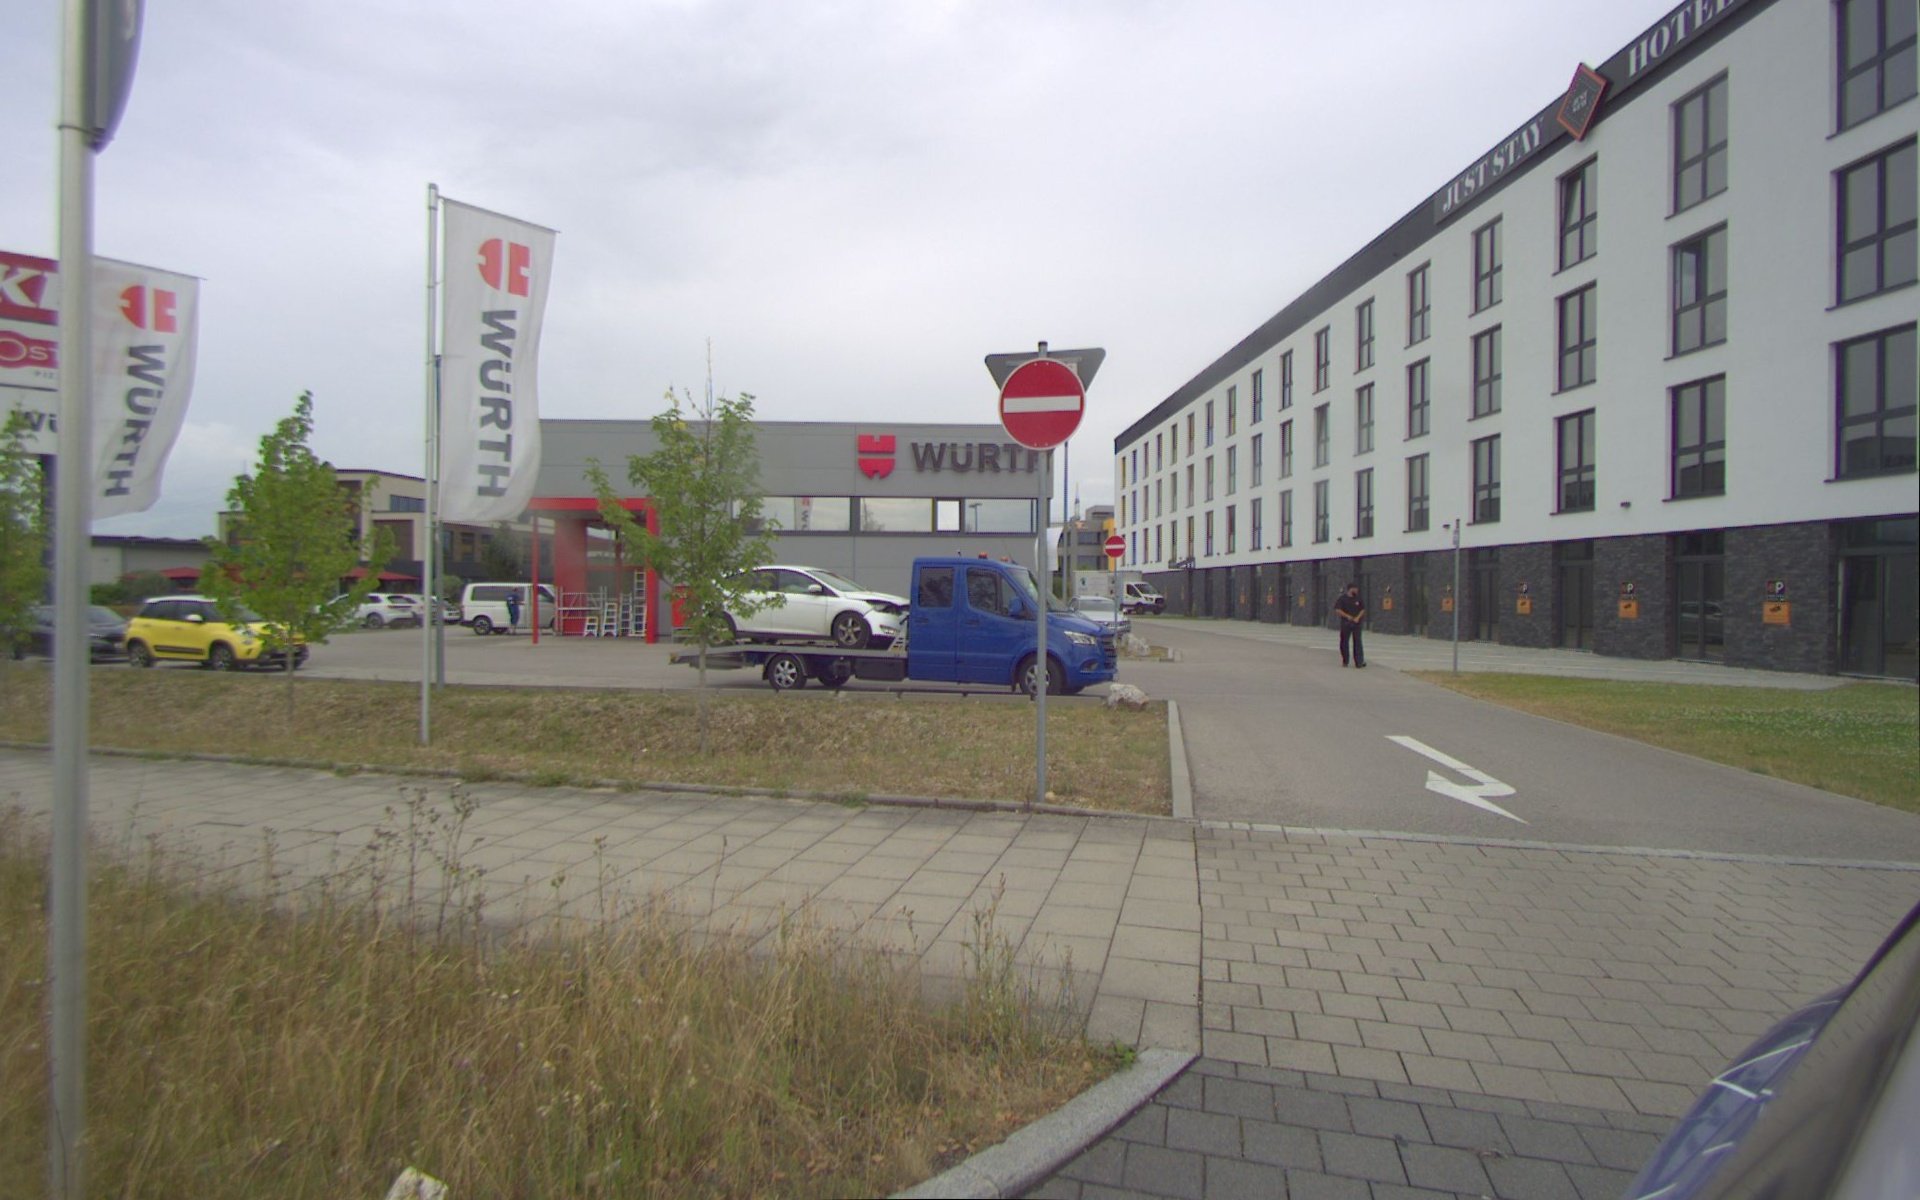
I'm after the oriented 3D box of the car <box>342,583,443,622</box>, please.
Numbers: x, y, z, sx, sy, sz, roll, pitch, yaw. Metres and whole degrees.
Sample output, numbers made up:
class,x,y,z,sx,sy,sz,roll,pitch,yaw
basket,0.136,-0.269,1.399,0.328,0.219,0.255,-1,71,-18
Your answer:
class,x,y,z,sx,sy,sz,roll,pitch,yaw
car,-28.027,0.108,50.074,3.924,1.883,2.000,0,1,1

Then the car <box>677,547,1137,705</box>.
class,x,y,z,sx,sy,sz,roll,pitch,yaw
car,-1.004,0.323,17.479,7.761,2.352,2.186,1,1,21

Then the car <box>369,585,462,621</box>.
class,x,y,z,sx,sy,sz,roll,pitch,yaw
car,-29.110,0.136,54.197,3.924,1.883,2.000,0,1,1

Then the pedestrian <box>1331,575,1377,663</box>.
class,x,y,z,sx,sy,sz,roll,pitch,yaw
pedestrian,8.389,0.386,21.573,0.697,1.845,0.812,0,0,4

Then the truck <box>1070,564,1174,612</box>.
class,x,y,z,sx,sy,sz,roll,pitch,yaw
truck,10.740,-0.845,67.680,2.394,3.054,7.059,-1,1,-40

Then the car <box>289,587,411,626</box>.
class,x,y,z,sx,sy,sz,roll,pitch,yaw
car,-28.396,0.274,47.220,4.653,1.770,1.758,0,0,1

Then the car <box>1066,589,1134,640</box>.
class,x,y,z,sx,sy,sz,roll,pitch,yaw
car,4.652,0.424,34.189,1.946,1.510,4.765,2,1,5

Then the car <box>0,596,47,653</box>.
class,x,y,z,sx,sy,sz,roll,pitch,yaw
car,-27.809,0.672,28.572,3.960,1.517,1.701,0,1,27

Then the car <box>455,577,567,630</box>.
class,x,y,z,sx,sy,sz,roll,pitch,yaw
car,-17.301,0.111,39.124,3.605,2.004,1.677,0,1,0

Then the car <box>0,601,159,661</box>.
class,x,y,z,sx,sy,sz,roll,pitch,yaw
car,-22.406,0.736,25.672,3.958,1.378,1.729,0,1,26

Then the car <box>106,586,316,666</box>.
class,x,y,z,sx,sy,sz,roll,pitch,yaw
car,-17.051,0.541,23.066,4.241,1.704,1.743,0,1,18

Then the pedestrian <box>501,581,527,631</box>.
class,x,y,z,sx,sy,sz,roll,pitch,yaw
pedestrian,-16.646,0.228,37.796,0.646,1.830,0.649,1,0,1
